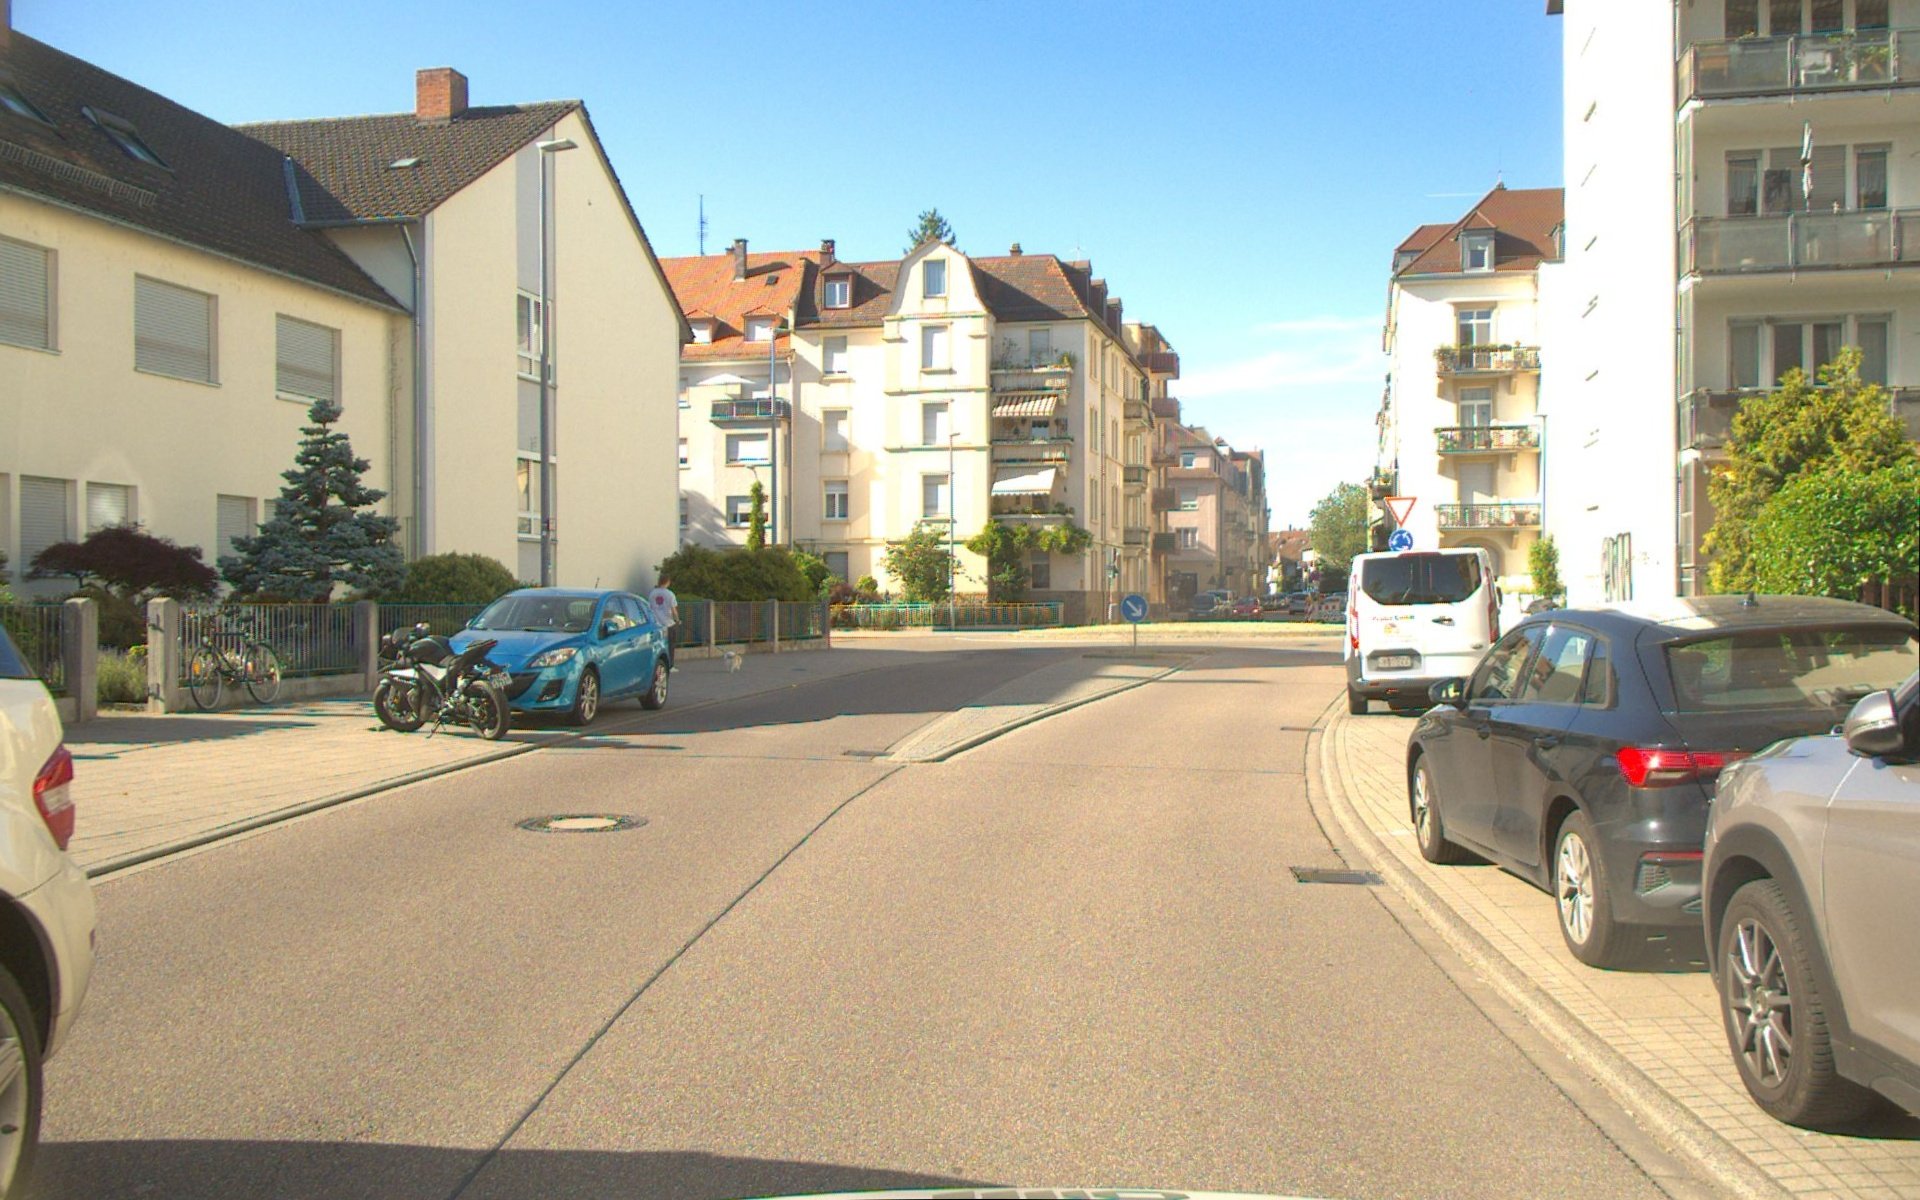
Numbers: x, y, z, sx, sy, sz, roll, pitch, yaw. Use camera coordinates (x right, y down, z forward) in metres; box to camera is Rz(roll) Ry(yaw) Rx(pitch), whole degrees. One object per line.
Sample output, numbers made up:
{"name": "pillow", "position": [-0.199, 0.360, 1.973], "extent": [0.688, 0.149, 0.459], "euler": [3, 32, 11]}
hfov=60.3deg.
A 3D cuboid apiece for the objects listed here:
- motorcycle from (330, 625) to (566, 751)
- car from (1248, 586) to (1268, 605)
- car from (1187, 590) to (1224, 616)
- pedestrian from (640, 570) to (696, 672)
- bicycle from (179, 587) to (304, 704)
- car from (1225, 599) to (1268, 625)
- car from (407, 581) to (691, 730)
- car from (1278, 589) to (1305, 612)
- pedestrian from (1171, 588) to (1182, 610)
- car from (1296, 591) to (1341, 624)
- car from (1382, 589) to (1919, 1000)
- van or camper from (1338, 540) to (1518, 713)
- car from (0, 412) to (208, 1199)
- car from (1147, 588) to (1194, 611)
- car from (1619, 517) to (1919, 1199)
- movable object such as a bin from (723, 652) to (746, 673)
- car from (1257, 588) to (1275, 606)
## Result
{"name": "motorcycle", "position": [-5.025, 0.835, 16.262], "extent": [2.014, 1.037, 0.947], "euler": [3, 2, 19]}
{"name": "car", "position": [27.557, -0.427, 152.694], "extent": [1.599, 1.685, 3.674], "euler": [0, 0, 14]}
{"name": "car", "position": [14.705, 0.167, 98.837], "extent": [1.951, 1.559, 4.004], "euler": [0, 0, 12]}
{"name": "pedestrian", "position": [-5.047, 0.383, 28.622], "extent": [0.668, 1.733, 0.824], "euler": [-1, -3, 14]}
{"name": "bicycle", "position": [-8.252, 0.538, 19.080], "extent": [0.446, 1.272, 1.929], "euler": [0, -2, 5]}
{"name": "car", "position": [16.636, 0.736, 95.929], "extent": [1.705, 1.378, 3.669], "euler": [-1, -3, 22]}
{"name": "car", "position": [-4.608, 0.554, 19.248], "extent": [1.759, 1.499, 4.334], "euler": [1, 0, 7]}
{"name": "car", "position": [25.816, 0.017, 128.629], "extent": [1.951, 1.769, 4.004], "euler": [0, 0, 12]}
{"name": "pedestrian", "position": [17.762, -0.076, 135.467], "extent": [0.782, 1.781, 0.845], "euler": [0, 0, 15]}
{"name": "car", "position": [20.918, 0.422, 96.402], "extent": [2.379, 1.843, 4.727], "euler": [0, 0, 14]}
{"name": "car", "position": [3.402, 0.702, 8.185], "extent": [1.681, 1.433, 4.316], "euler": [-3, 0, 3]}
{"name": "van or camper", "position": [6.166, 0.310, 21.934], "extent": [1.977, 1.981, 4.706], "euler": [-2, 0, 15]}
{"name": "car", "position": [-2.990, 0.532, 2.078], "extent": [1.948, 1.816, 4.520], "euler": [-1, 0, 1]}
{"name": "car", "position": [18.566, -0.045, 145.750], "extent": [3.820, 2.049, 1.763], "euler": [0, 0, 21]}
{"name": "car", "position": [3.078, 0.633, 3.426], "extent": [1.779, 1.682, 4.561], "euler": [0, -2, 3]}
{"name": "movable object such as a bin", "position": [-3.989, 1.100, 29.288], "extent": [0.215, 0.354, 0.521], "euler": [0, 0, 15]}
{"name": "car", "position": [30.102, -0.301, 162.640], "extent": [1.599, 1.685, 3.674], "euler": [0, 0, 14]}
